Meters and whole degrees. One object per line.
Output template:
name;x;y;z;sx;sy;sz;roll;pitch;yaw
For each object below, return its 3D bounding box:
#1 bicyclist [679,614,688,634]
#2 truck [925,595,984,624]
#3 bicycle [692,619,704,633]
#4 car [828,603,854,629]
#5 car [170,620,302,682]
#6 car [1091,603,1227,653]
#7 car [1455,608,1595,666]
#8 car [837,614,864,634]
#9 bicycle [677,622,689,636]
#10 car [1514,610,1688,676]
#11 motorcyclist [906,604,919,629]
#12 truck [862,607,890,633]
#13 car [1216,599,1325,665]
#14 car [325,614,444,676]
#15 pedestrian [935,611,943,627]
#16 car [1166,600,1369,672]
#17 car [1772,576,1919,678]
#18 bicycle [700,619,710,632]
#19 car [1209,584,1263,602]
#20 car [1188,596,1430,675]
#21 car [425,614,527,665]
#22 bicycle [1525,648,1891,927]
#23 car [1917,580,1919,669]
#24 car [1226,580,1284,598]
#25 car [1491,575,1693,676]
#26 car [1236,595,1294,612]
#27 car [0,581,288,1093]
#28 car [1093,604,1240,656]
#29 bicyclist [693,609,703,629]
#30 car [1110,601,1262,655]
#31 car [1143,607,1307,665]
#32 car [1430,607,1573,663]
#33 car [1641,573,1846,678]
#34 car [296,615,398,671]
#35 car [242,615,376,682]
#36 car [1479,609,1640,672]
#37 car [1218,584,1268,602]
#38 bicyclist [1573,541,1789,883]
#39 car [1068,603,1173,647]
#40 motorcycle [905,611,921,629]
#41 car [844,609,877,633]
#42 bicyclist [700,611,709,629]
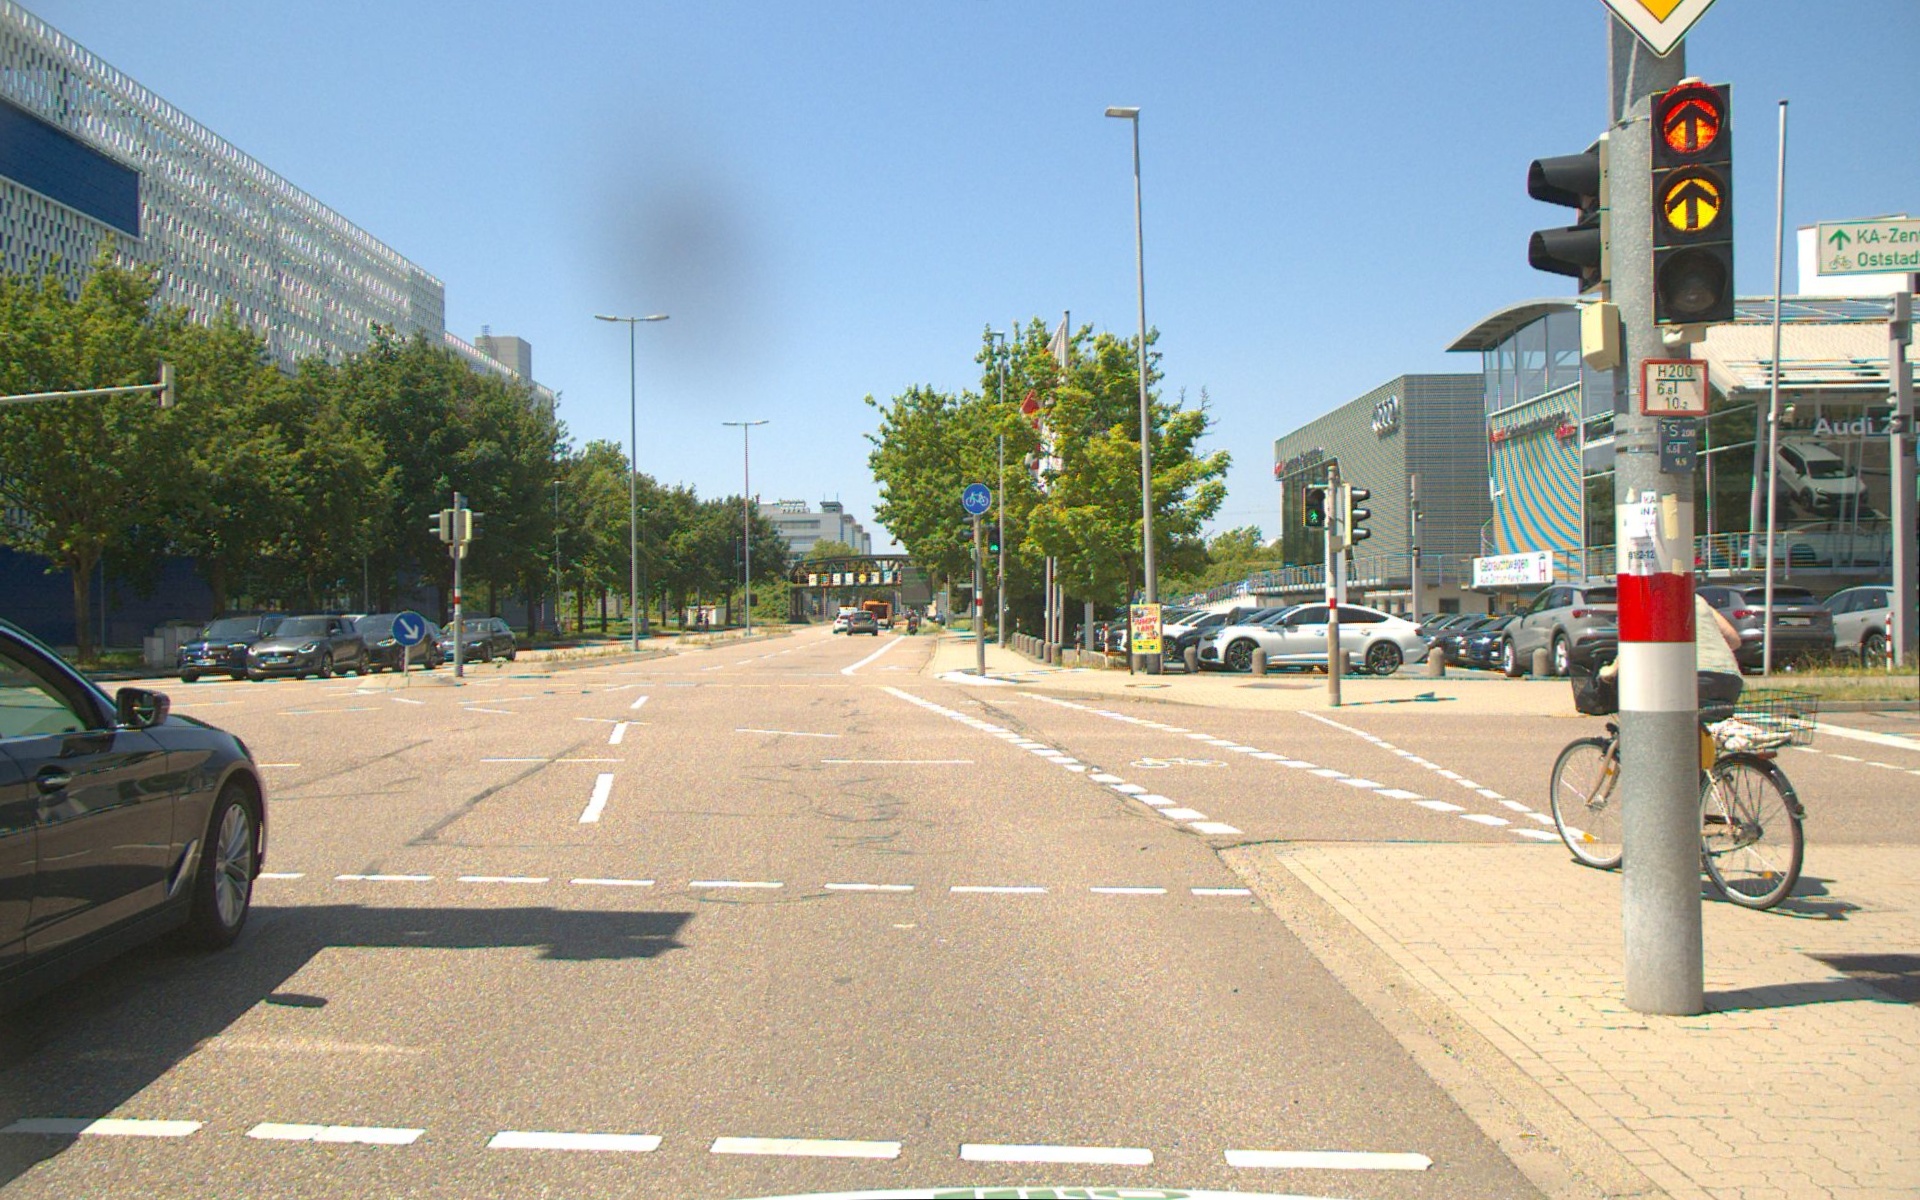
bicyclist;-23.130;2.012;138.389;0.624;1.610;0.884;-1;-1;-1
truck;-0.589;1.036;171.648;5.537;2.900;2.597;1;0;-31
bicycle;-22.190;2.173;140.333;0.724;1.145;2.433;-1;0;-3
car;-9.843;1.325;137.315;1.953;2.049;3.998;-1;0;-2
car;-18.351;1.261;42.089;1.627;1.449;4.037;-2;-1;-1
car;6.260;0.879;52.313;4.017;1.429;1.868;2;-1;-1
car;16.715;1.086;49.056;3.573;1.608;1.642;2;-1;-1
car;-8.069;1.742;122.224;1.885;1.445;3.998;0;0;-2
bicycle;-23.130;2.456;138.310;0.624;1.153;1.970;-1;-1;0
car;17.007;1.129;43.988;3.904;1.626;1.850;2;-1;-1
motorcyclist;-3.022;1.051;105.980;0.706;1.556;0.868;1;-1;-11
truck;-7.967;1.881;157.335;2.408;2.452;7.132;1;0;-1
car;7.399;0.754;39.833;1.824;1.444;4.663;2;-1;1
car;-15.475;1.194;44.691;1.691;1.531;4.243;-3;-1;0
pedestrian;-1.805;1.653;142.384;0.611;1.399;0.564;-1;-1;-3
car;6.610;0.765;35.815;4.013;1.415;1.868;2;-1;-1
car;16.381;0.480;29.237;1.808;1.683;3.994;2;-1;-5
bicycle;-23.187;2.321;150.350;0.616;1.179;2.116;-3;0;-2
car;21.620;-0.521;129.637;3.909;1.335;1.795;1;-1;-5
car;6.968;0.700;33.351;4.497;1.415;1.869;2;-1;1
car;-15.454;1.234;53.010;1.691;1.471;4.720;-3;-1;2
bicycle;3.665;0.858;8.305;0.617;1.153;1.887;0;0;-15
car;18.770;0.479;28.961;1.604;1.644;3.814;0;1;-5
car;21.605;-0.811;121.310;3.862;1.232;1.715;0;-1;-5
car;11.035;0.477;29.243;1.830;1.586;4.503;-2;-2;0
car;21.371;0.235;115.894;3.652;1.150;1.682;1;-1;-5
car;-3.645;0.682;4.896;1.762;1.466;4.552;0;0;-5
car;6.136;0.877;49.456;4.140;1.415;1.868;2;-1;-1
bicyclist;-22.195;1.614;140.282;0.730;1.715;0.951;-1;-1;-3
car;6.329;0.774;46.615;4.016;1.372;1.868;2;-1;-1
car;6.966;0.930;43.776;4.013;1.388;1.874;2;-1;-1
car;16.895;1.081;51.700;3.901;1.601;1.633;2;-1;-1
car;13.661;0.437;29.107;1.806;1.683;3.999;2;-1;2
car;-18.595;1.287;50.337;1.691;1.571;3.914;-2;-1;-1
car;-15.123;1.114;38.587;1.610;1.413;3.715;-3;-1;0
car;16.833;1.124;46.544;3.904;1.650;1.656;2;-1;-1
car;21.401;-0.554;125.155;3.455;1.261;1.675;1;-1;-5
bicyclist;3.640;0.540;8.393;0.617;1.634;0.822;1;-1;-16
car;5.821;0.901;60.286;3.607;1.479;1.833;2;-1;-1
motorcycle;-3.019;1.267;105.927;0.703;1.124;1.825;1;-1;-10
car;-5.972;1.252;99.859;1.862;1.400;4.230;-1;0;-2
bicyclist;-23.206;1.816;150.283;0.621;1.657;1.044;-3;-1;-2
